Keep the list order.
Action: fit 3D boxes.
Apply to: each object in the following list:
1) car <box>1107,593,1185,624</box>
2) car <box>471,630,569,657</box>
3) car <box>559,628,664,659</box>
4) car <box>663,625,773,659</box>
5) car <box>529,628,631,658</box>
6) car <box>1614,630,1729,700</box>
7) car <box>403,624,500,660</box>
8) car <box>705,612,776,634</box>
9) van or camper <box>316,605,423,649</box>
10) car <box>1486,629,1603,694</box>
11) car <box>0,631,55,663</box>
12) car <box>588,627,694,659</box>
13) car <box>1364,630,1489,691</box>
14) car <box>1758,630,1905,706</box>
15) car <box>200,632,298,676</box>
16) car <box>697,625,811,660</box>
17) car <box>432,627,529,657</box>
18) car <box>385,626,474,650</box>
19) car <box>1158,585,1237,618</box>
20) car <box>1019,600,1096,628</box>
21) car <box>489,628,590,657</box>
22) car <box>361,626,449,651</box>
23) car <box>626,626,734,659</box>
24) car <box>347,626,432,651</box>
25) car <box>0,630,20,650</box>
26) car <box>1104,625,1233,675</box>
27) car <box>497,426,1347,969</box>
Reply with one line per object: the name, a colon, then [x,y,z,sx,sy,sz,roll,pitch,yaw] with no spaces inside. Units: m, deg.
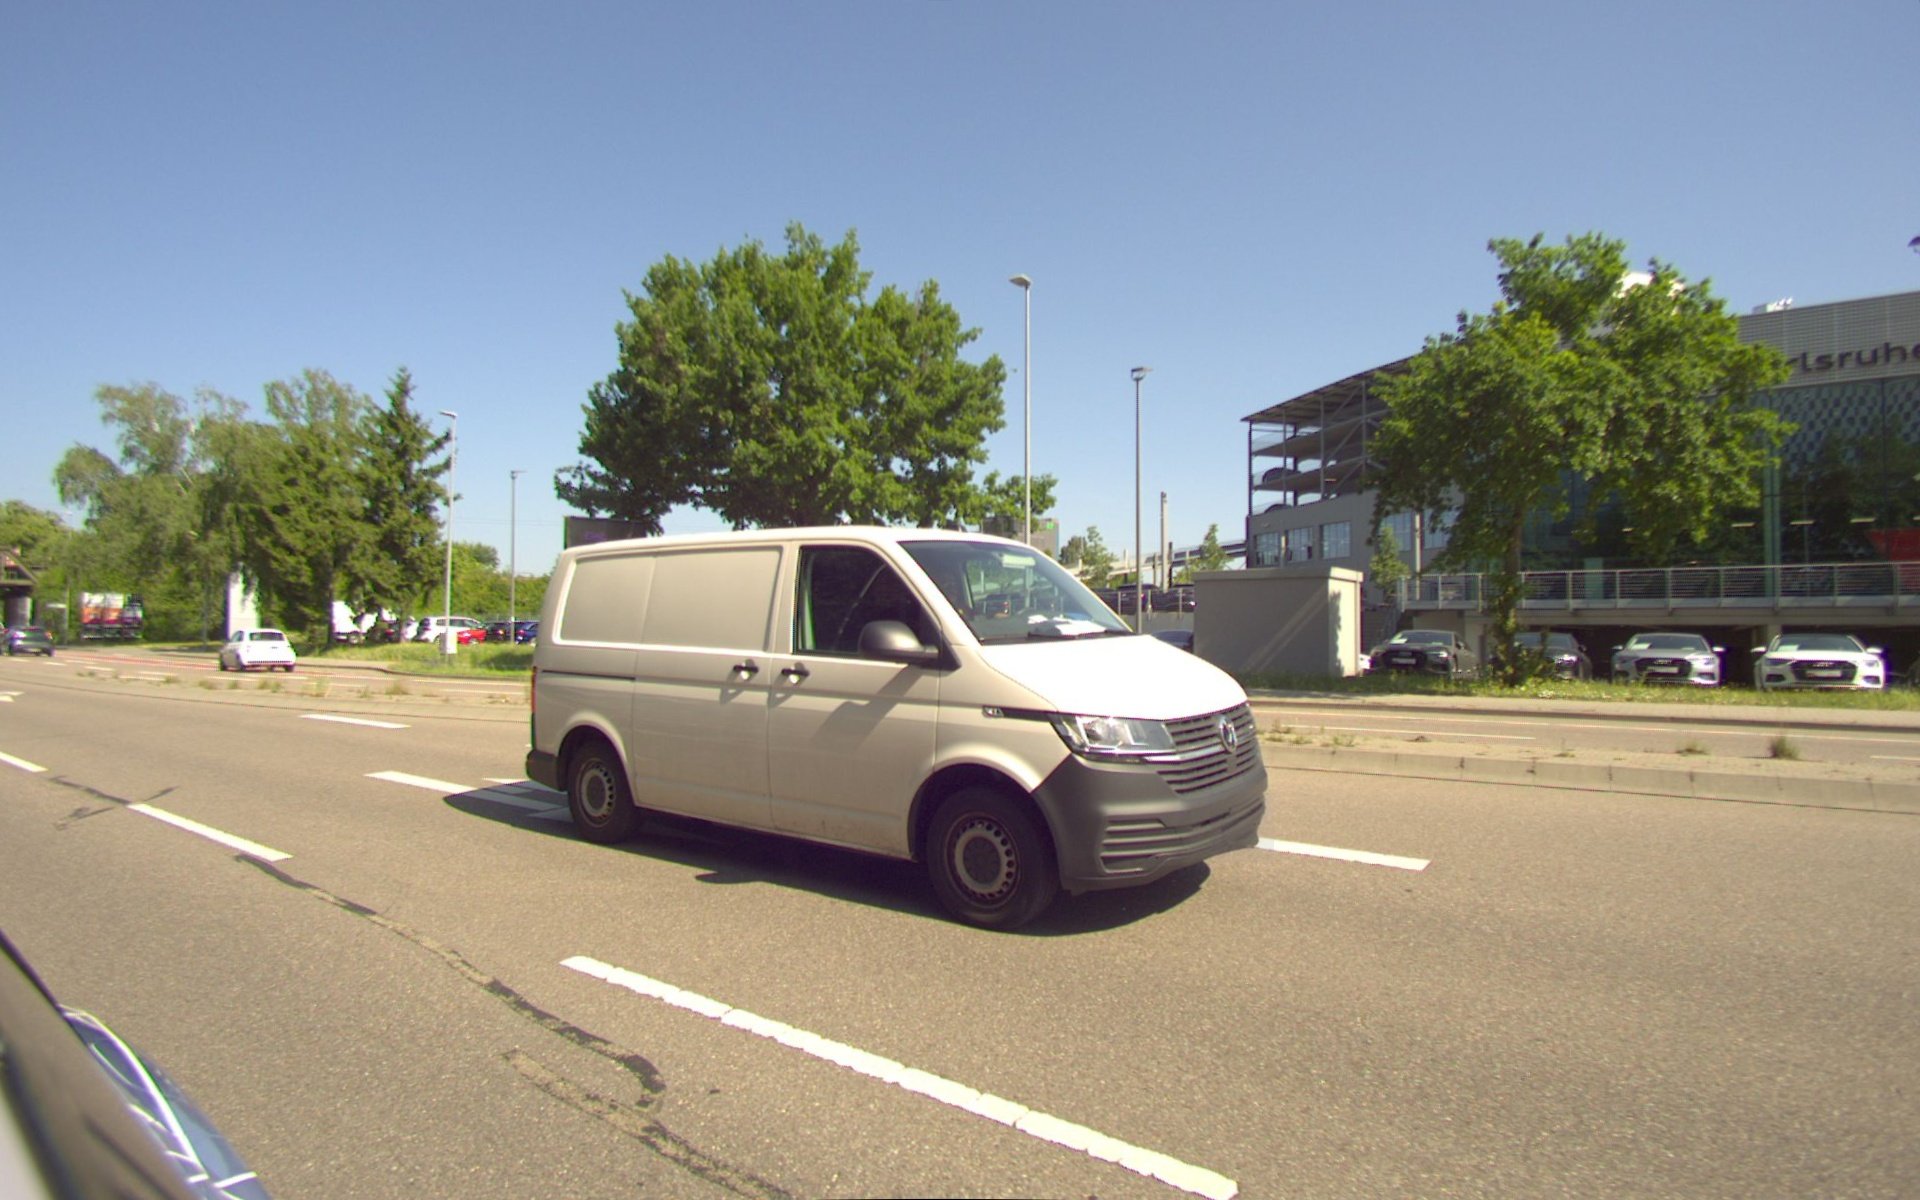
car: [8.942,0.441,48.457,1.951,1.361,4.224,-2,-3,38]
car: [-22.646,2.230,52.247,1.952,1.338,4.223,-2,-3,40]
car: [-16.255,2.025,47.349,1.952,1.361,4.223,-2,-3,40]
car: [-10.153,1.766,42.683,1.952,1.361,4.223,-2,-3,40]
car: [-18.311,2.071,48.890,1.952,1.361,4.223,-2,-3,40]
car: [15.656,1.361,22.187,1.863,1.386,3.949,-2,-3,38]
car: [-27.443,2.255,54.722,1.952,1.899,4.223,-2,-3,40]
car: [-14.101,1.488,65.137,1.951,1.361,4.224,-2,-3,38]
van or camper: [-36.272,1.628,62.331,1.996,2.489,5.331,-3,-1,35]
car: [13.730,1.384,23.677,1.863,1.386,3.949,-2,-3,38]
car: [-44.684,2.222,48.081,3.994,1.425,1.766,-2,-5,38]
car: [-14.363,1.924,45.759,1.952,1.361,4.223,-2,-3,40]
car: [11.689,1.467,25.227,1.997,1.386,3.949,-2,-3,38]
car: [17.668,1.318,20.705,2.022,1.386,4.003,-2,-3,38]
car: [-24.686,1.866,35.096,3.542,1.475,1.639,-1,-4,35]
car: [-8.278,1.704,40.915,1.952,1.361,4.223,-2,-3,40]
car: [-25.369,2.193,53.672,1.952,1.515,4.223,-2,-3,40]
car: [-29.395,2.107,56.153,1.742,1.303,4.045,-2,-3,40]
car: [10.978,0.092,46.662,1.951,1.361,4.224,-2,-3,38]
car: [4.990,0.749,51.534,1.951,1.361,4.224,-2,-3,38]
car: [-20.737,2.084,50.014,1.952,1.392,4.223,-2,-3,40]
car: [-31.751,2.216,57.953,1.744,1.364,4.042,-1,-2,43]
car: [-12.168,1.856,44.199,1.952,1.361,4.223,-2,-3,40]
car: [-33.517,2.264,59.512,1.744,1.450,4.042,-2,-3,43]
car: [-71.777,2.984,75.276,4.675,1.424,1.974,-1,-3,38]
car: [6.179,1.443,29.670,1.952,1.361,4.223,-2,-3,40]
car: [-0.538,0.438,6.001,4.966,2.009,1.864,-2,-3,37]
